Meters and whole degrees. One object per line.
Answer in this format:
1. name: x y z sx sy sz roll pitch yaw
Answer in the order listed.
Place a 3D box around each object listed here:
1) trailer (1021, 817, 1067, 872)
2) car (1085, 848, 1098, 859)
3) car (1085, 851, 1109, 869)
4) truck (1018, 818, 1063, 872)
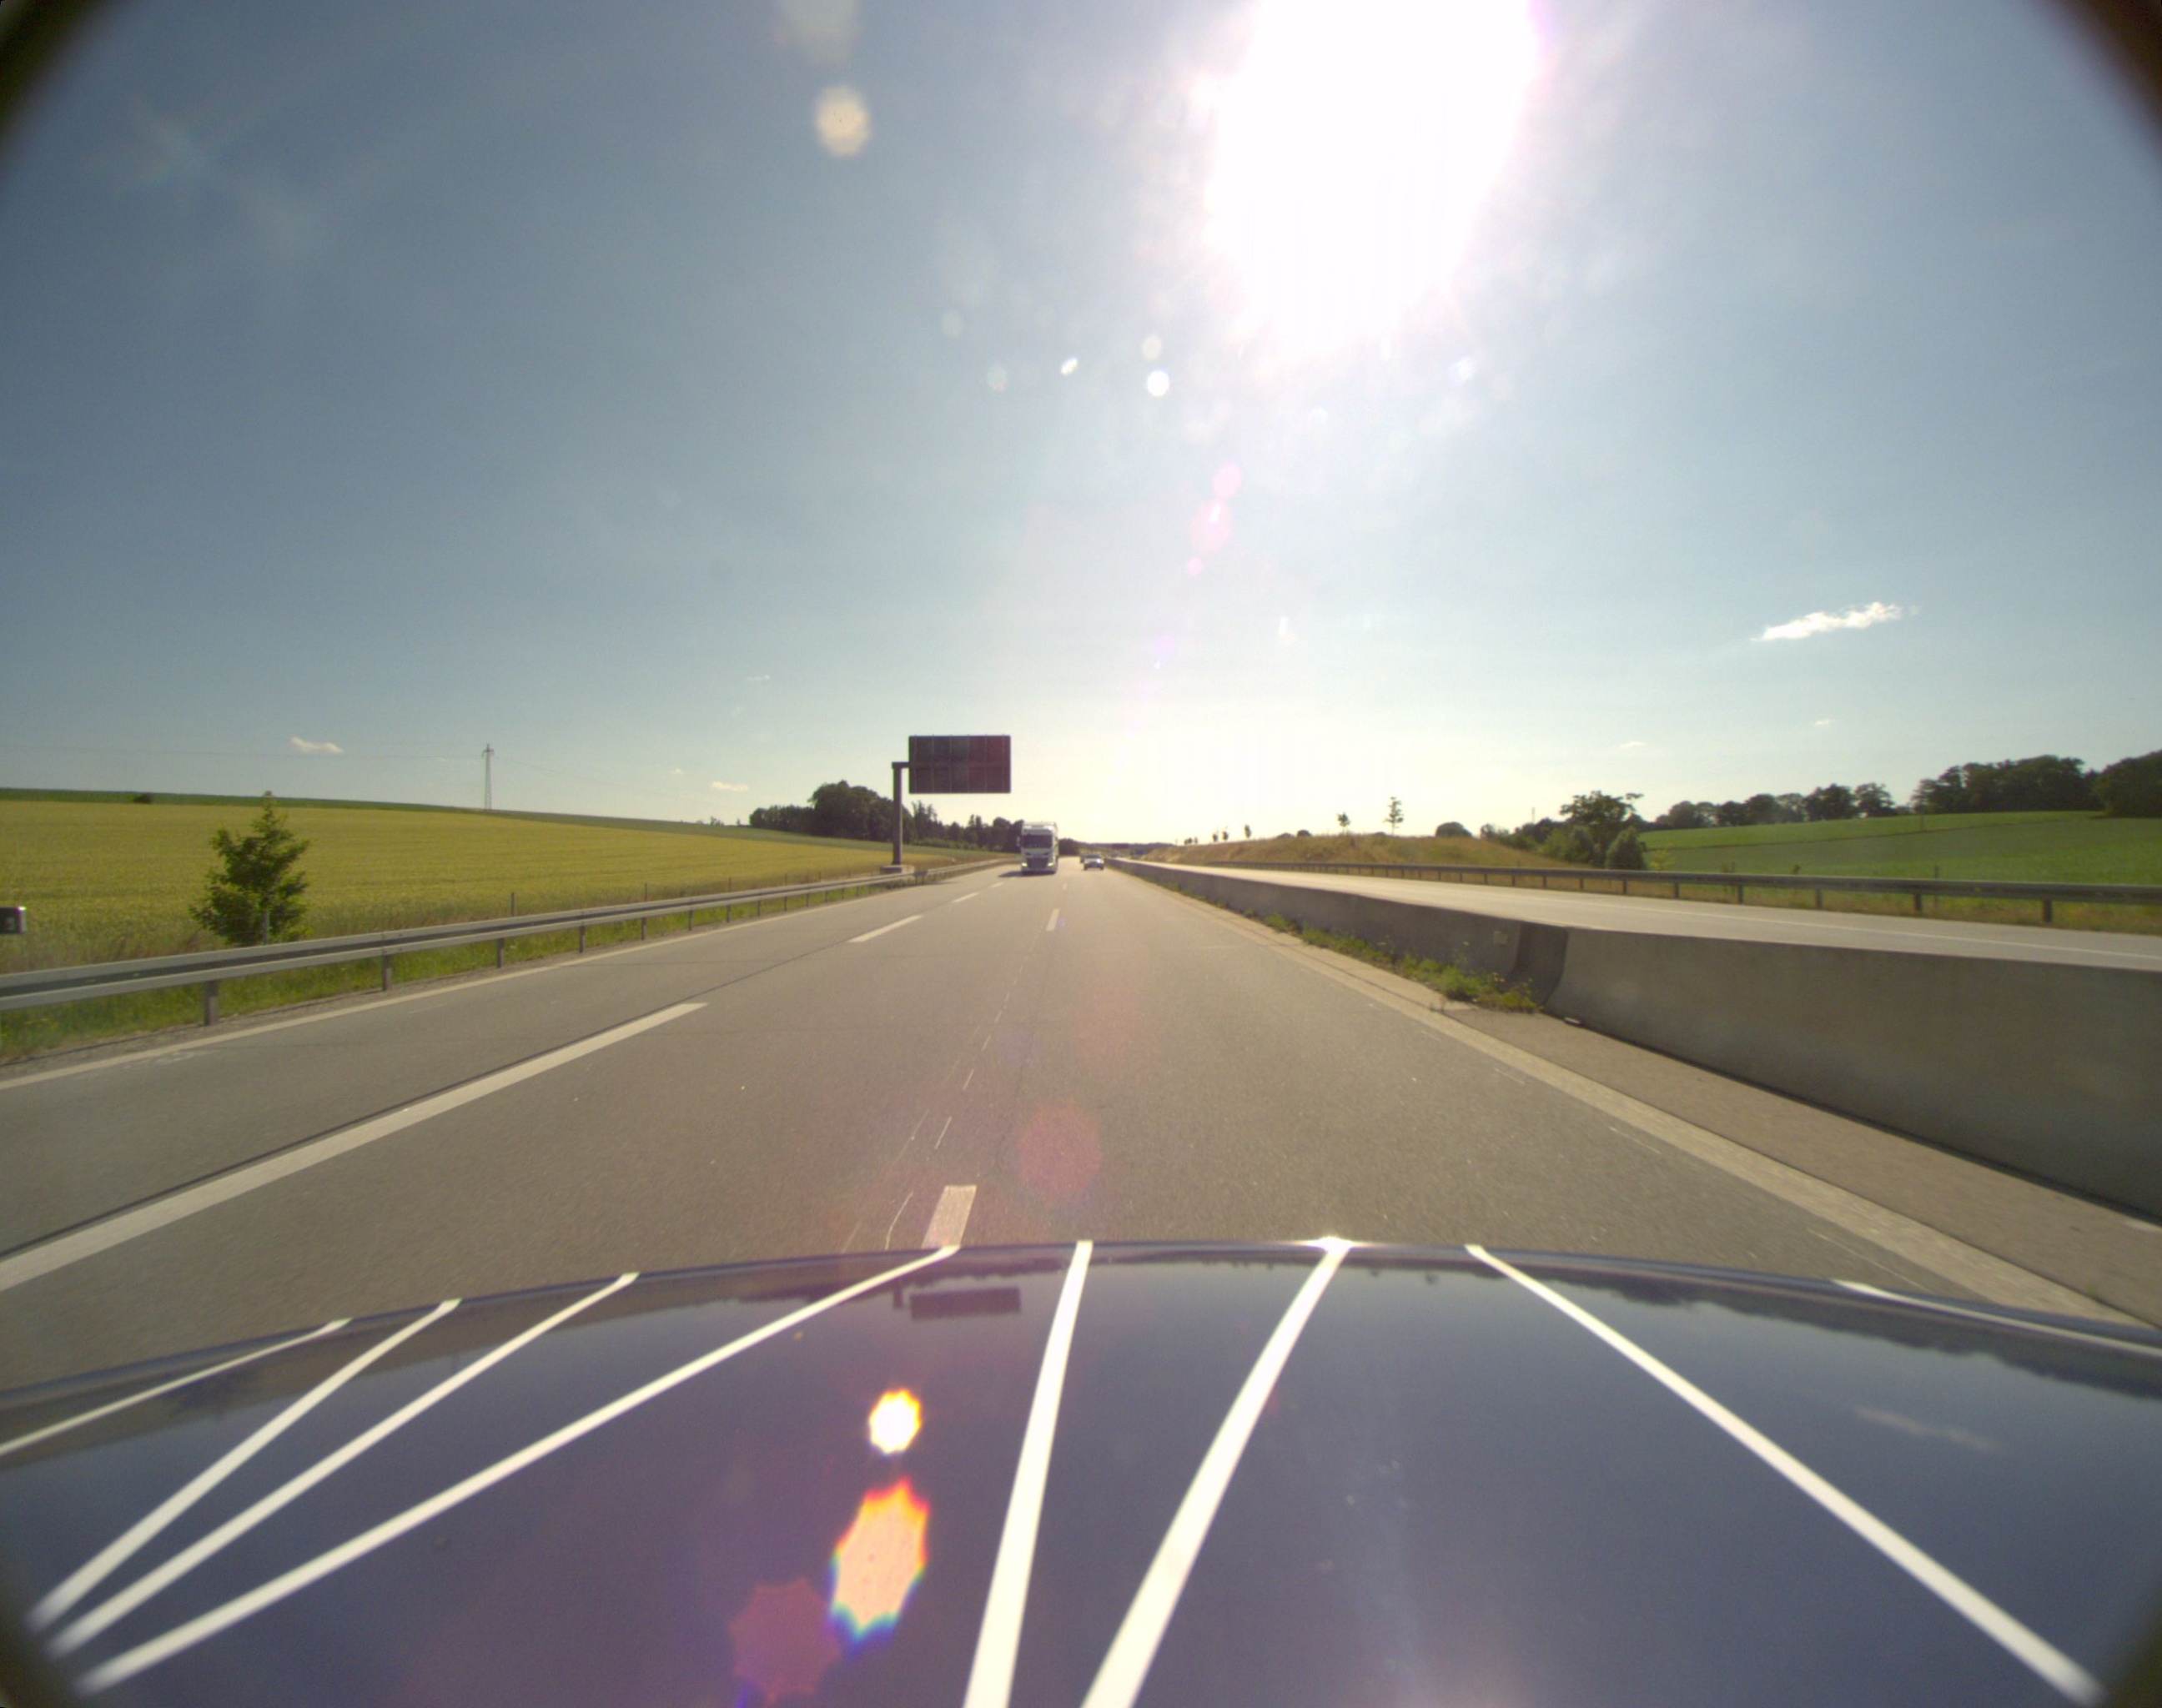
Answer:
1. trailer: -3.057 -0.789 67.918 3.184 4.269 15.458 2 0 0
2. car: 1.676 -0.090 119.734 1.899 1.560 4.000 0 0 1
3. car: 1.420 0.531 67.901 1.891 1.565 3.793 -1 0 5
4. truck: -3.052 -0.693 59.055 3.090 3.991 6.188 1 1 0
